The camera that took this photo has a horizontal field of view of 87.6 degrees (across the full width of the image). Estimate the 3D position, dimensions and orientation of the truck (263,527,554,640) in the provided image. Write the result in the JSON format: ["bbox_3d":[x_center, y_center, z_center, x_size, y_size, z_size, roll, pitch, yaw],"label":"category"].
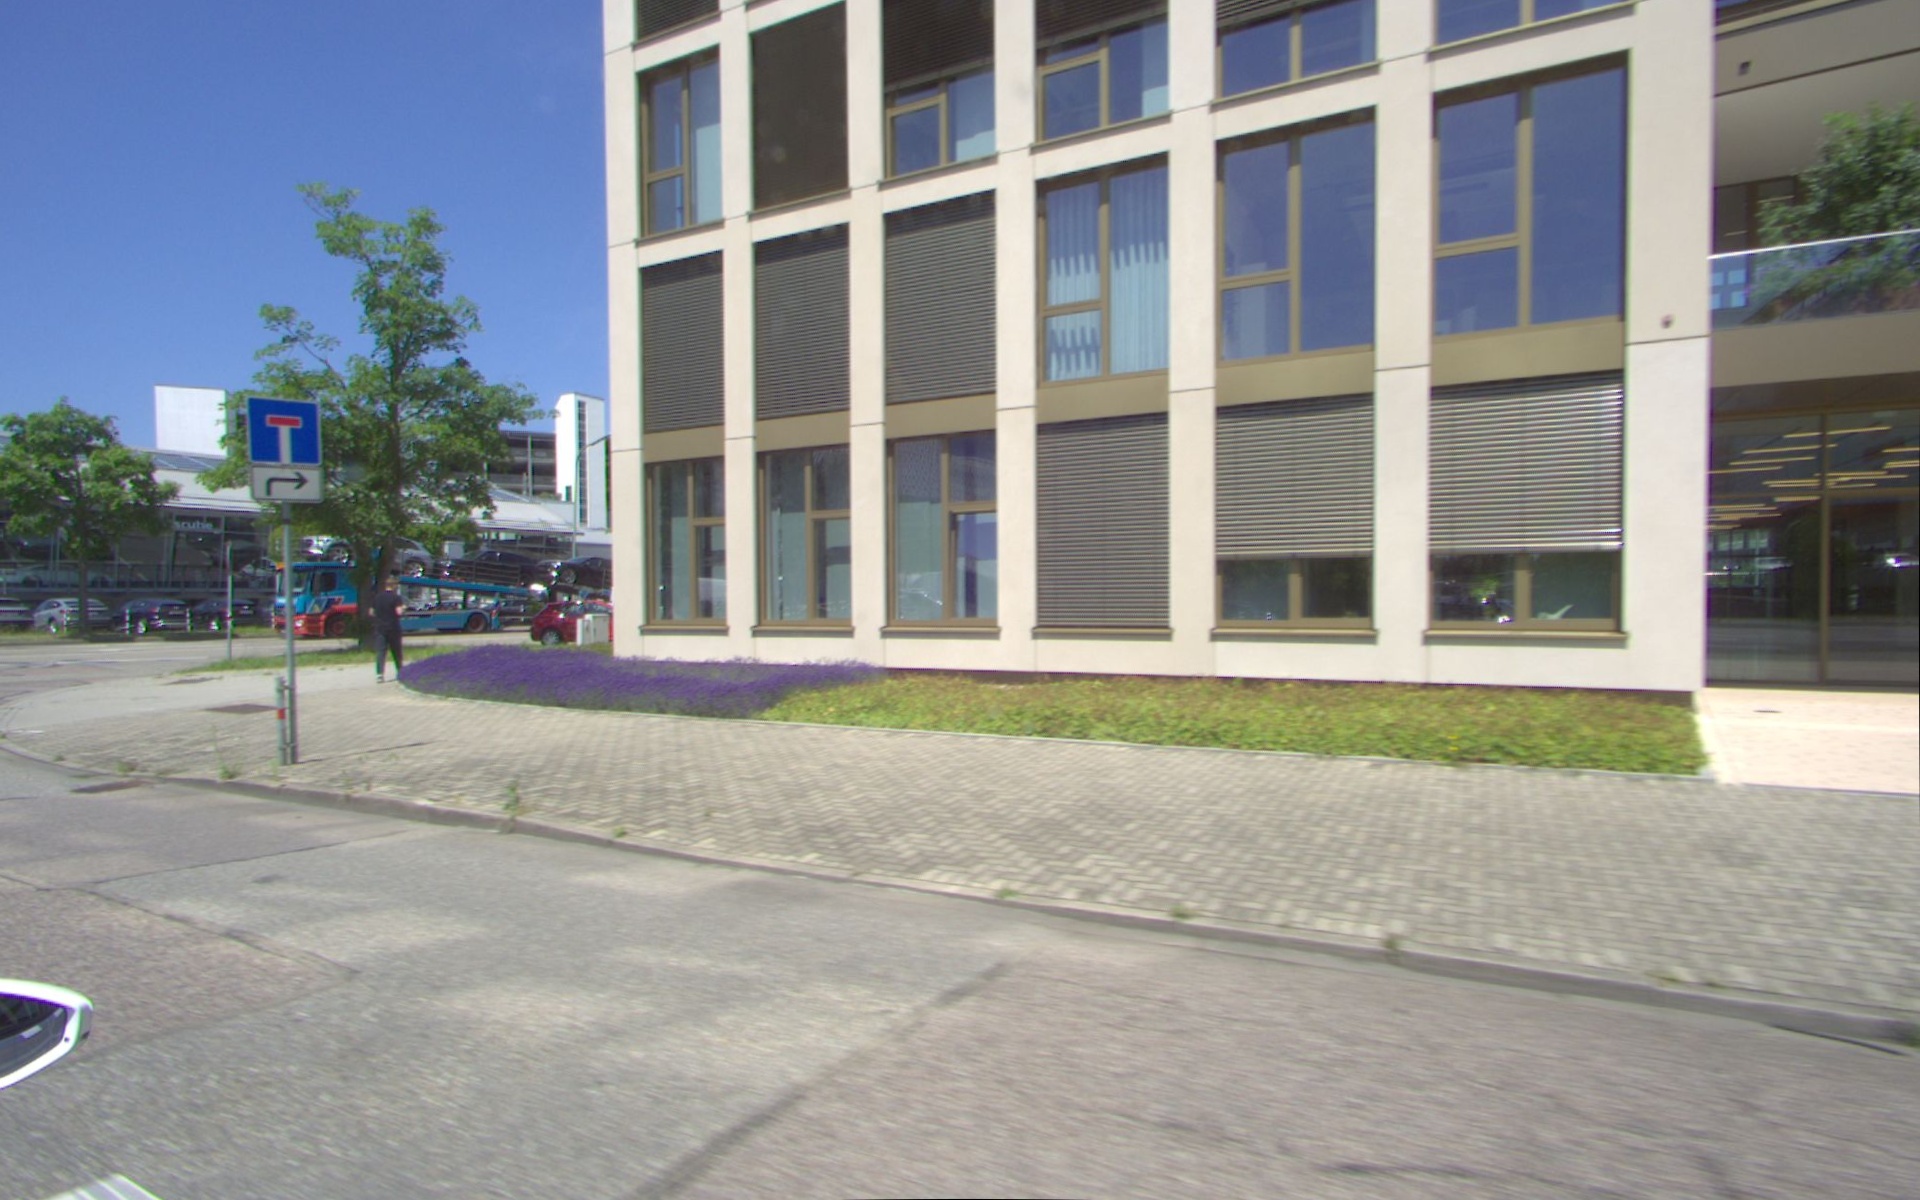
[{"bbox_3d":[-22.537,-0.511,41.892,3.055,4.135,10.600,0,-1,32],"label":"truck"}]

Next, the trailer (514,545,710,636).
[{"bbox_3d":[-17.243,-0.337,50.527,3.050,4.134,9.596,0,-1,32],"label":"trailer"}]

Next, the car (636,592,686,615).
[{"bbox_3d":[-24.985,0.291,83.585,3.937,1.810,1.732,0,0,28],"label":"car"}]

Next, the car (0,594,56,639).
[{"bbox_3d":[-37.452,0.595,38.937,4.371,1.662,1.992,1,1,28],"label":"car"}]

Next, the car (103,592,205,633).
[{"bbox_3d":[-34.844,0.504,43.280,4.403,1.662,1.826,1,1,28],"label":"car"}]

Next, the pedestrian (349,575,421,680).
[{"bbox_3d":[-10.471,0.486,18.272,0.758,1.870,0.868,-1,2,0],"label":"pedestrian"}]

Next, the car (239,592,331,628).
[{"bbox_3d":[-32.530,0.464,48.254,4.403,1.662,1.826,1,1,28],"label":"car"}]

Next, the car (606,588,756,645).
[{"bbox_3d":[-9.496,0.534,34.330,4.817,1.840,1.702,-1,0,-15],"label":"car"}]

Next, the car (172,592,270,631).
[{"bbox_3d":[-33.794,0.501,45.756,4.402,1.661,1.827,1,0,27],"label":"car"}]

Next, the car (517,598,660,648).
[{"bbox_3d":[-11.416,0.700,31.013,3.926,1.454,1.608,-1,0,-13],"label":"car"}]

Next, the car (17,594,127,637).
[{"bbox_3d":[-36.412,0.590,41.046,4.453,1.662,1.884,1,1,28],"label":"car"}]

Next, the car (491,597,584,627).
[{"bbox_3d":[-24.524,0.648,58.200,4.711,1.662,1.818,0,1,-40],"label":"car"}]

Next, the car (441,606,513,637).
[{"bbox_3d":[-28.824,1.274,59.765,3.666,1.801,1.736,0,0,-36],"label":"car"}]
